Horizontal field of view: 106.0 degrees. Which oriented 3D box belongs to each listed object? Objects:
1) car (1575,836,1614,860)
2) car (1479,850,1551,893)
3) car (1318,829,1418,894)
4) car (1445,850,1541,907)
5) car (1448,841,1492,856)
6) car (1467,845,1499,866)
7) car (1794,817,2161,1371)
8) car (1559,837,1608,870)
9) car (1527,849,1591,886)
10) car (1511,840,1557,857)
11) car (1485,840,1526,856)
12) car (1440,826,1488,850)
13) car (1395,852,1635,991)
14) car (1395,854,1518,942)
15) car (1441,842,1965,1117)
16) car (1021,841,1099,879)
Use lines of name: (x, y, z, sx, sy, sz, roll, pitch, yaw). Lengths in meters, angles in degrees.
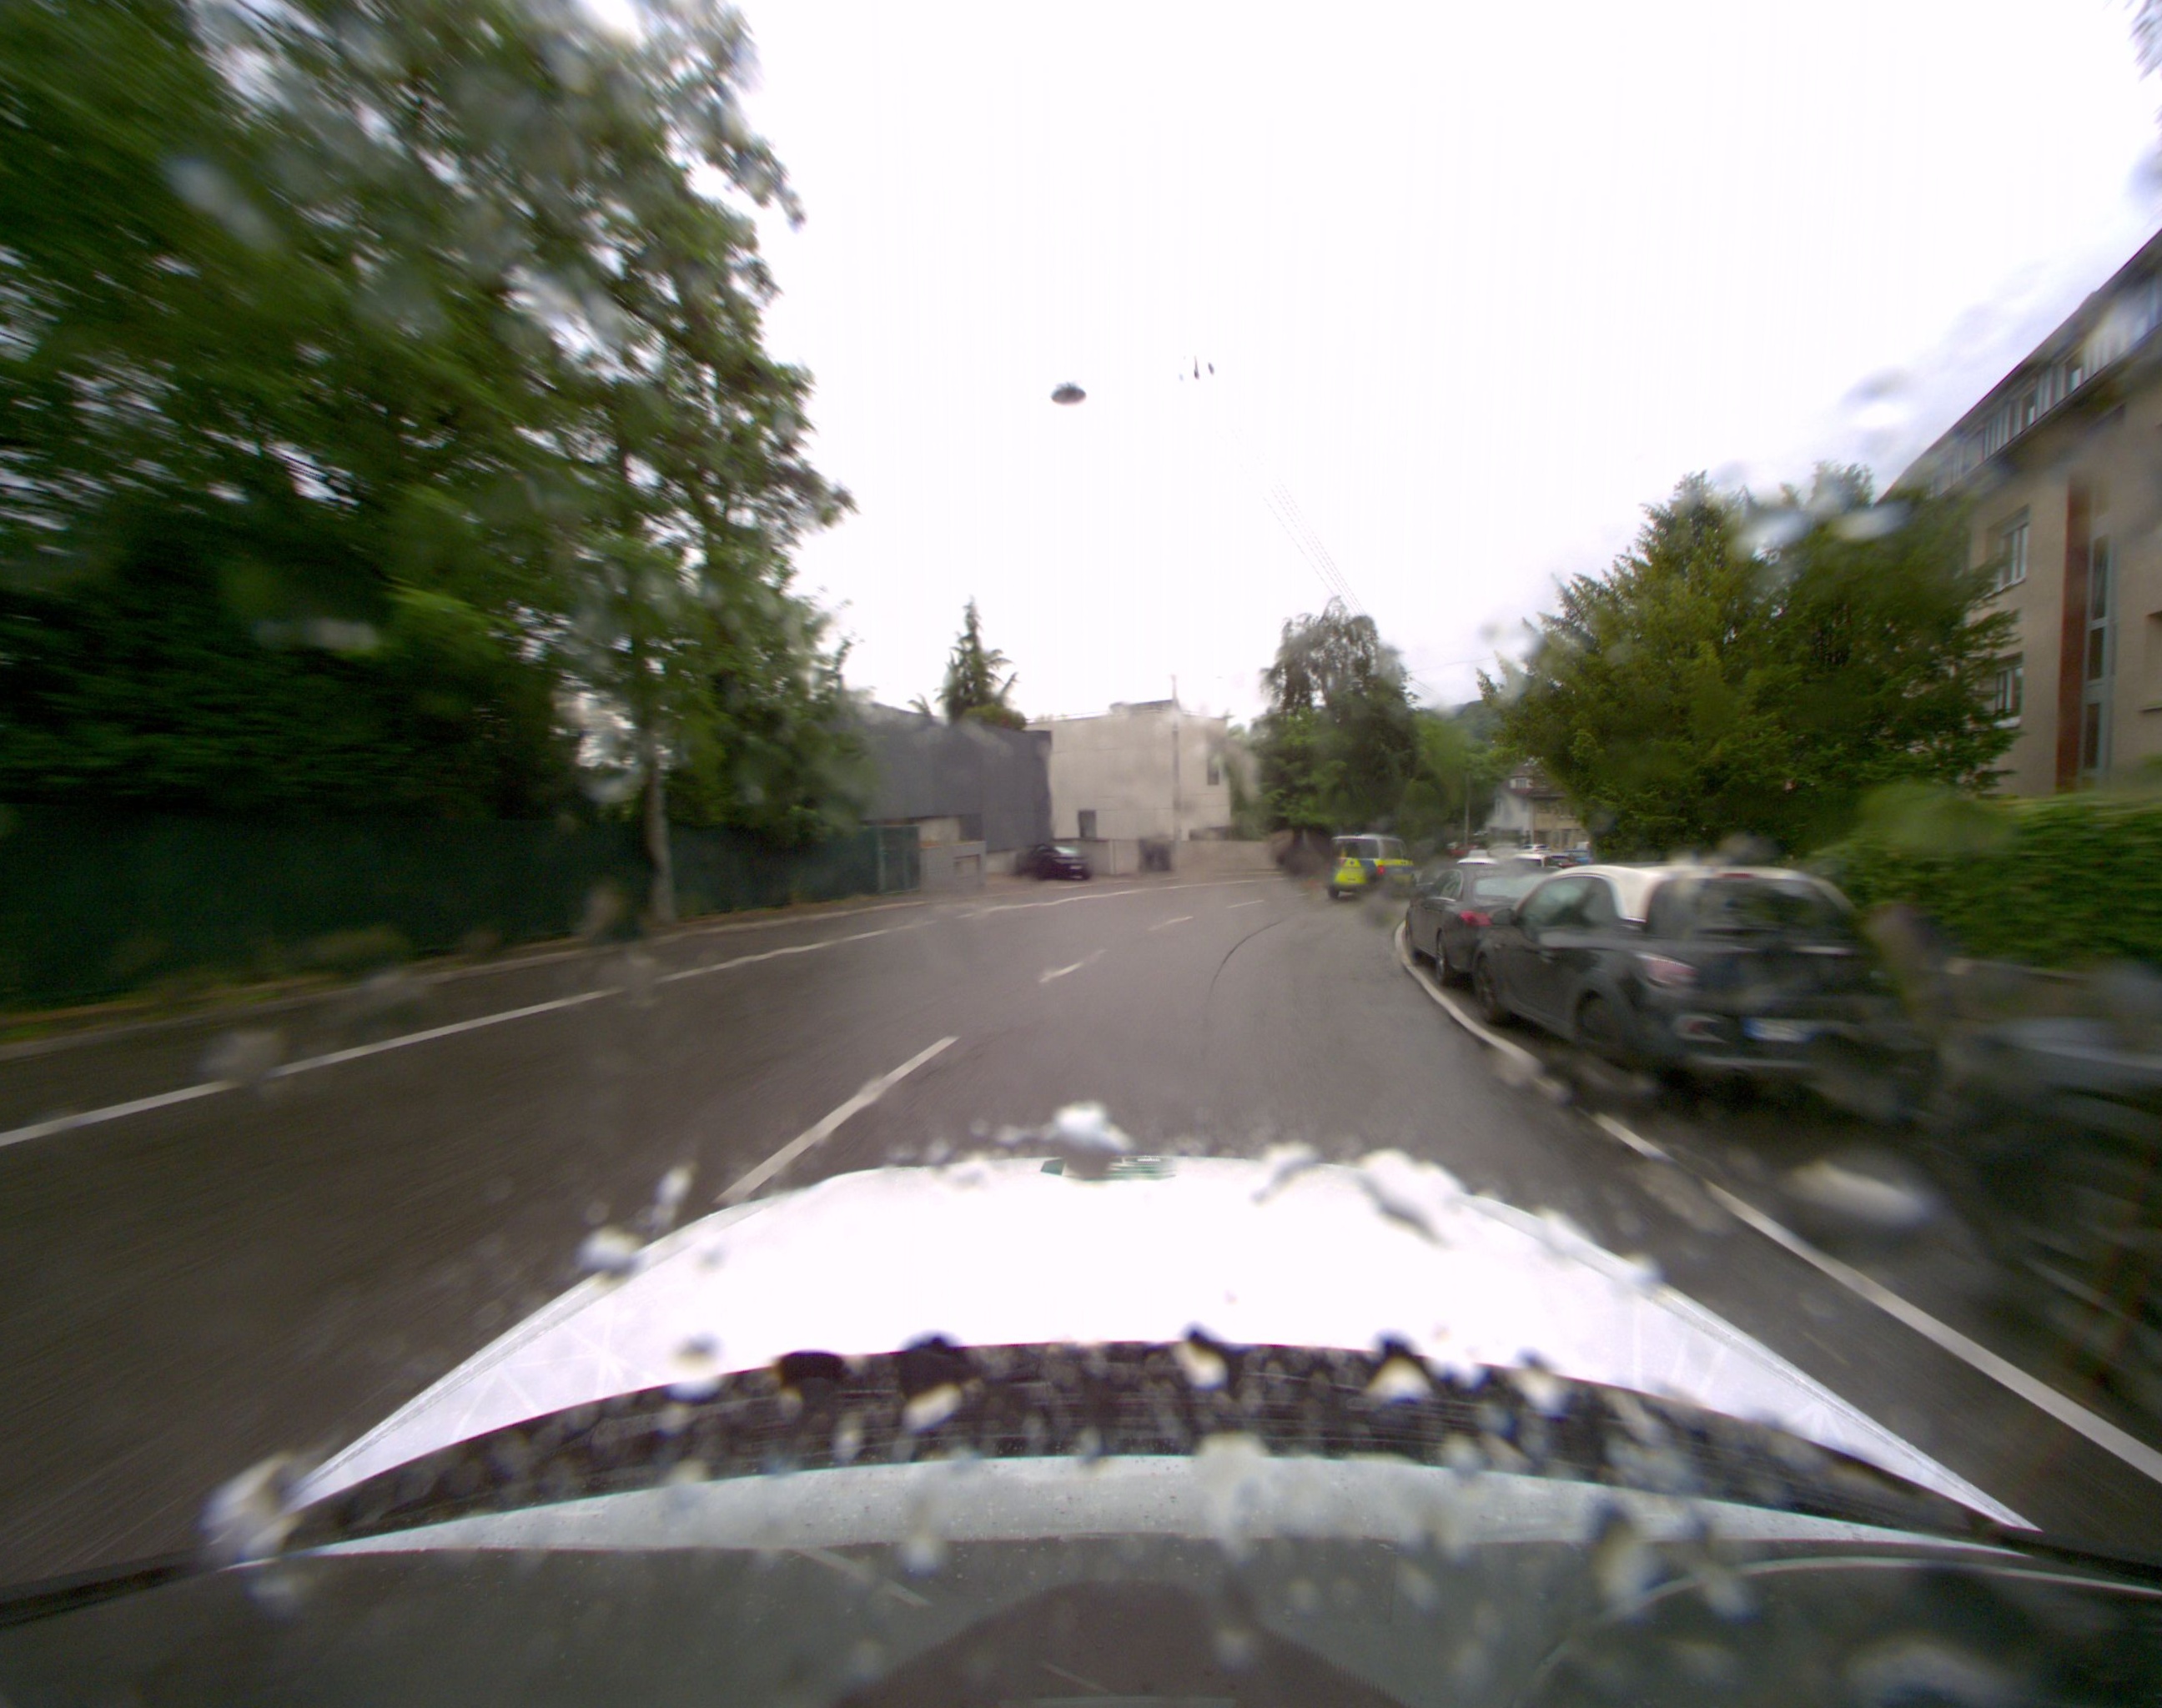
car: (42.929, -0.525, 68.179, 1.691, 1.791, 4.348, -4, 0, 19)
car: (16.743, 0.598, 31.300, 1.789, 1.455, 4.281, 0, 1, 37)
car: (9.262, 0.239, 26.047, 1.974, 1.893, 4.599, -1, -1, 33)
car: (12.282, 0.673, 24.106, 1.762, 1.435, 4.598, -2, 0, 36)
car: (42.224, -0.574, 88.470, 1.787, 1.367, 4.167, -4, 0, -20)
car: (30.672, 0.098, 62.139, 1.633, 1.419, 3.827, 3, 3, 34)
car: (3.643, 0.628, 1.235, 1.707, 1.435, 4.074, -4, 0, 4)
car: (25.672, -0.057, 41.521, 1.717, 1.593, 4.281, 0, 1, 37)
car: (21.159, 0.550, 35.968, 1.673, 1.455, 4.280, 1, 1, 41)
car: (43.751, -0.531, 78.761, 1.909, 1.538, 4.411, -4, 0, -2)
car: (43.431, -0.584, 83.438, 1.764, 1.515, 3.812, -4, 0, -8)
car: (44.435, -1.836, 94.497, 4.372, 1.842, 2.005, -13, 1, 8)
car: (5.499, 0.744, 10.985, 1.794, 1.435, 4.549, -2, 0, 14)
car: (7.037, 0.745, 15.544, 1.791, 1.348, 4.645, -2, 0, 23)
car: (4.286, 0.705, 6.439, 1.672, 1.471, 3.749, -4, 0, 9)
car: (-0.860, 0.166, 30.350, 1.896, 1.301, 3.976, 0, 1, -18)
